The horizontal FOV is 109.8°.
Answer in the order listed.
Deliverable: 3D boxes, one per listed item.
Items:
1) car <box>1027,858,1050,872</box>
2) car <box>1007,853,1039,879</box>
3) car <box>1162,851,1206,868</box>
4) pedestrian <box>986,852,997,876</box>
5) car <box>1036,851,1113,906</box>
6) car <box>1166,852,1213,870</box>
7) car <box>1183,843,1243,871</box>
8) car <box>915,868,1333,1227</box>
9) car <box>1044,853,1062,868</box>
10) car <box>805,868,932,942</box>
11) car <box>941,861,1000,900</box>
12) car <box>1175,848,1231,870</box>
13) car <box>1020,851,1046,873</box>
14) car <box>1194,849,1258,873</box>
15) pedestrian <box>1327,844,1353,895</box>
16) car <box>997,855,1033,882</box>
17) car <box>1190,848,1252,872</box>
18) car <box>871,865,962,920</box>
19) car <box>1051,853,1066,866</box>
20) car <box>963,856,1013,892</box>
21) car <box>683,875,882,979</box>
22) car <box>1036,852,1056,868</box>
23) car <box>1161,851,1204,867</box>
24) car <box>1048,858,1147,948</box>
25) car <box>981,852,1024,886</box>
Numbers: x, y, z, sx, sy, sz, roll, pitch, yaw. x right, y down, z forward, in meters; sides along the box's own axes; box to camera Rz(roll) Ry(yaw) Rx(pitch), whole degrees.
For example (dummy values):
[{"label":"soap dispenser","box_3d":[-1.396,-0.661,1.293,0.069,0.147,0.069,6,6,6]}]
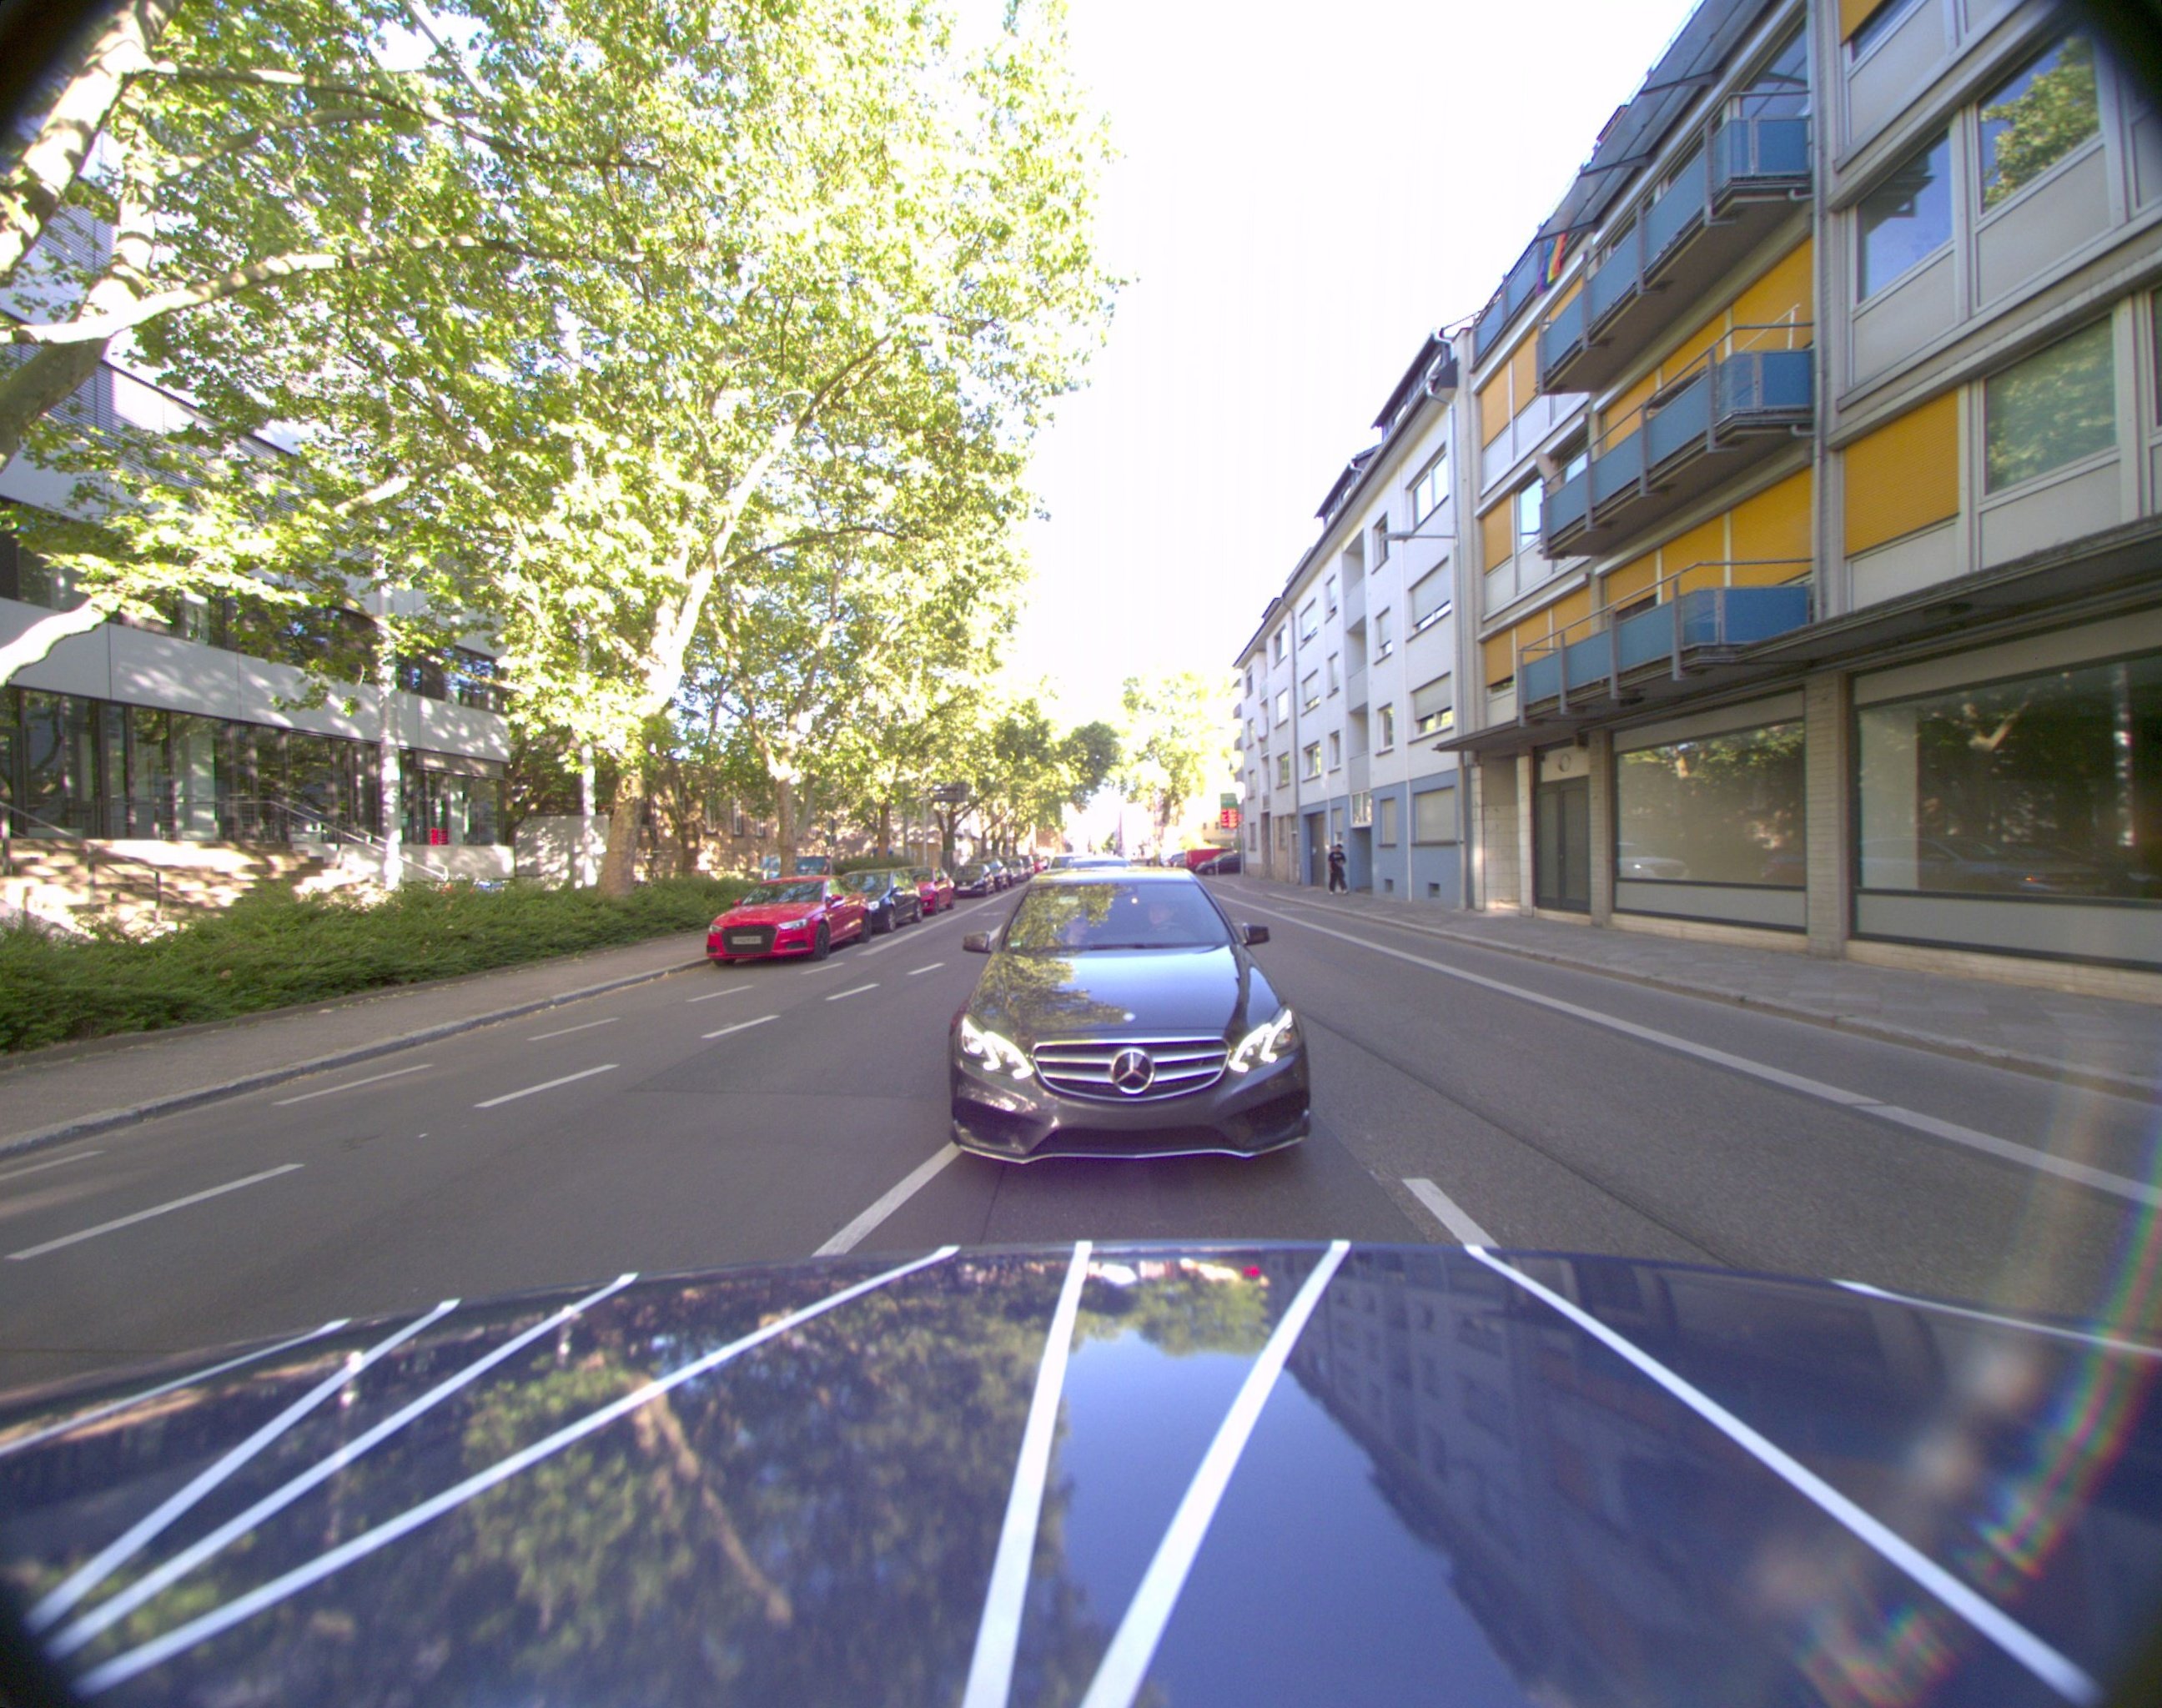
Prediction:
[{"label":"car","box_3d":[-3.989,1.024,71.797,1.835,1.220,4.259,-2,0,1]},{"label":"car","box_3d":[-4.178,0.810,55.649,1.835,1.750,4.259,-2,0,1]},{"label":"car","box_3d":[10.605,0.537,78.660,4.255,1.461,1.653,-4,0,1]},{"label":"pedestrian","box_3d":[-6.789,0.760,57.788,0.660,1.849,0.641,-2,1,1]},{"label":"car","box_3d":[-0.106,0.780,26.464,1.907,1.678,4.815,-2,0,8]},{"label":"car","box_3d":[10.434,0.670,73.201,4.255,1.461,1.653,-4,0,1]},{"label":"car","box_3d":[10.416,0.219,60.139,4.255,1.907,1.818,-4,0,0]},{"label":"car","box_3d":[0.224,0.917,5.581,1.849,1.490,4.302,-1,0,1]},{"label":"car","box_3d":[-3.409,0.783,92.852,1.835,1.667,4.259,-2,0,1]},{"label":"car","box_3d":[-5.040,1.150,18.640,1.835,1.438,4.168,-2,0,1]},{"label":"car","box_3d":[-4.745,1.103,33.187,1.835,1.459,4.168,-2,0,1]},{"label":"car","box_3d":[10.053,0.405,62.721,4.255,1.461,1.653,-4,0,1]},{"label":"car","box_3d":[-4.144,0.679,66.357,1.835,1.839,4.259,-2,0,1]},{"label":"car","box_3d":[10.401,0.516,54.757,4.255,1.392,1.653,-4,0,1]},{"label":"pedestrian","box_3d":[8.602,0.508,25.280,0.612,1.685,0.655,-2,1,1]},{"label":"car","box_3d":[-4.337,0.945,50.617,1.835,1.604,4.259,-2,0,1]},{"label":"car","box_3d":[10.485,0.452,57.059,4.255,1.461,1.653,-4,0,1]},{"label":"car","box_3d":[-5.042,1.134,23.850,1.835,1.459,4.168,-2,0,1]},{"label":"car","box_3d":[-3.044,0.681,102.959,1.835,1.667,4.259,-2,0,1]},{"label":"car","box_3d":[-4.596,0.963,38.084,1.835,1.596,4.161,-2,0,1]},{"label":"car","box_3d":[-5.130,1.177,13.780,1.835,1.396,4.247,-2,0,1]},{"label":"car","box_3d":[-3.937,0.665,86.236,1.835,1.667,4.259,-2,0,1]},{"label":"car","box_3d":[10.776,0.511,80.624,4.255,1.461,1.653,-4,0,1]},{"label":"car","box_3d":[0.334,0.896,15.577,1.726,1.530,4.000,-1,0,1]},{"label":"car","box_3d":[-4.509,0.821,44.124,1.835,1.787,4.463,-2,0,1]}]
